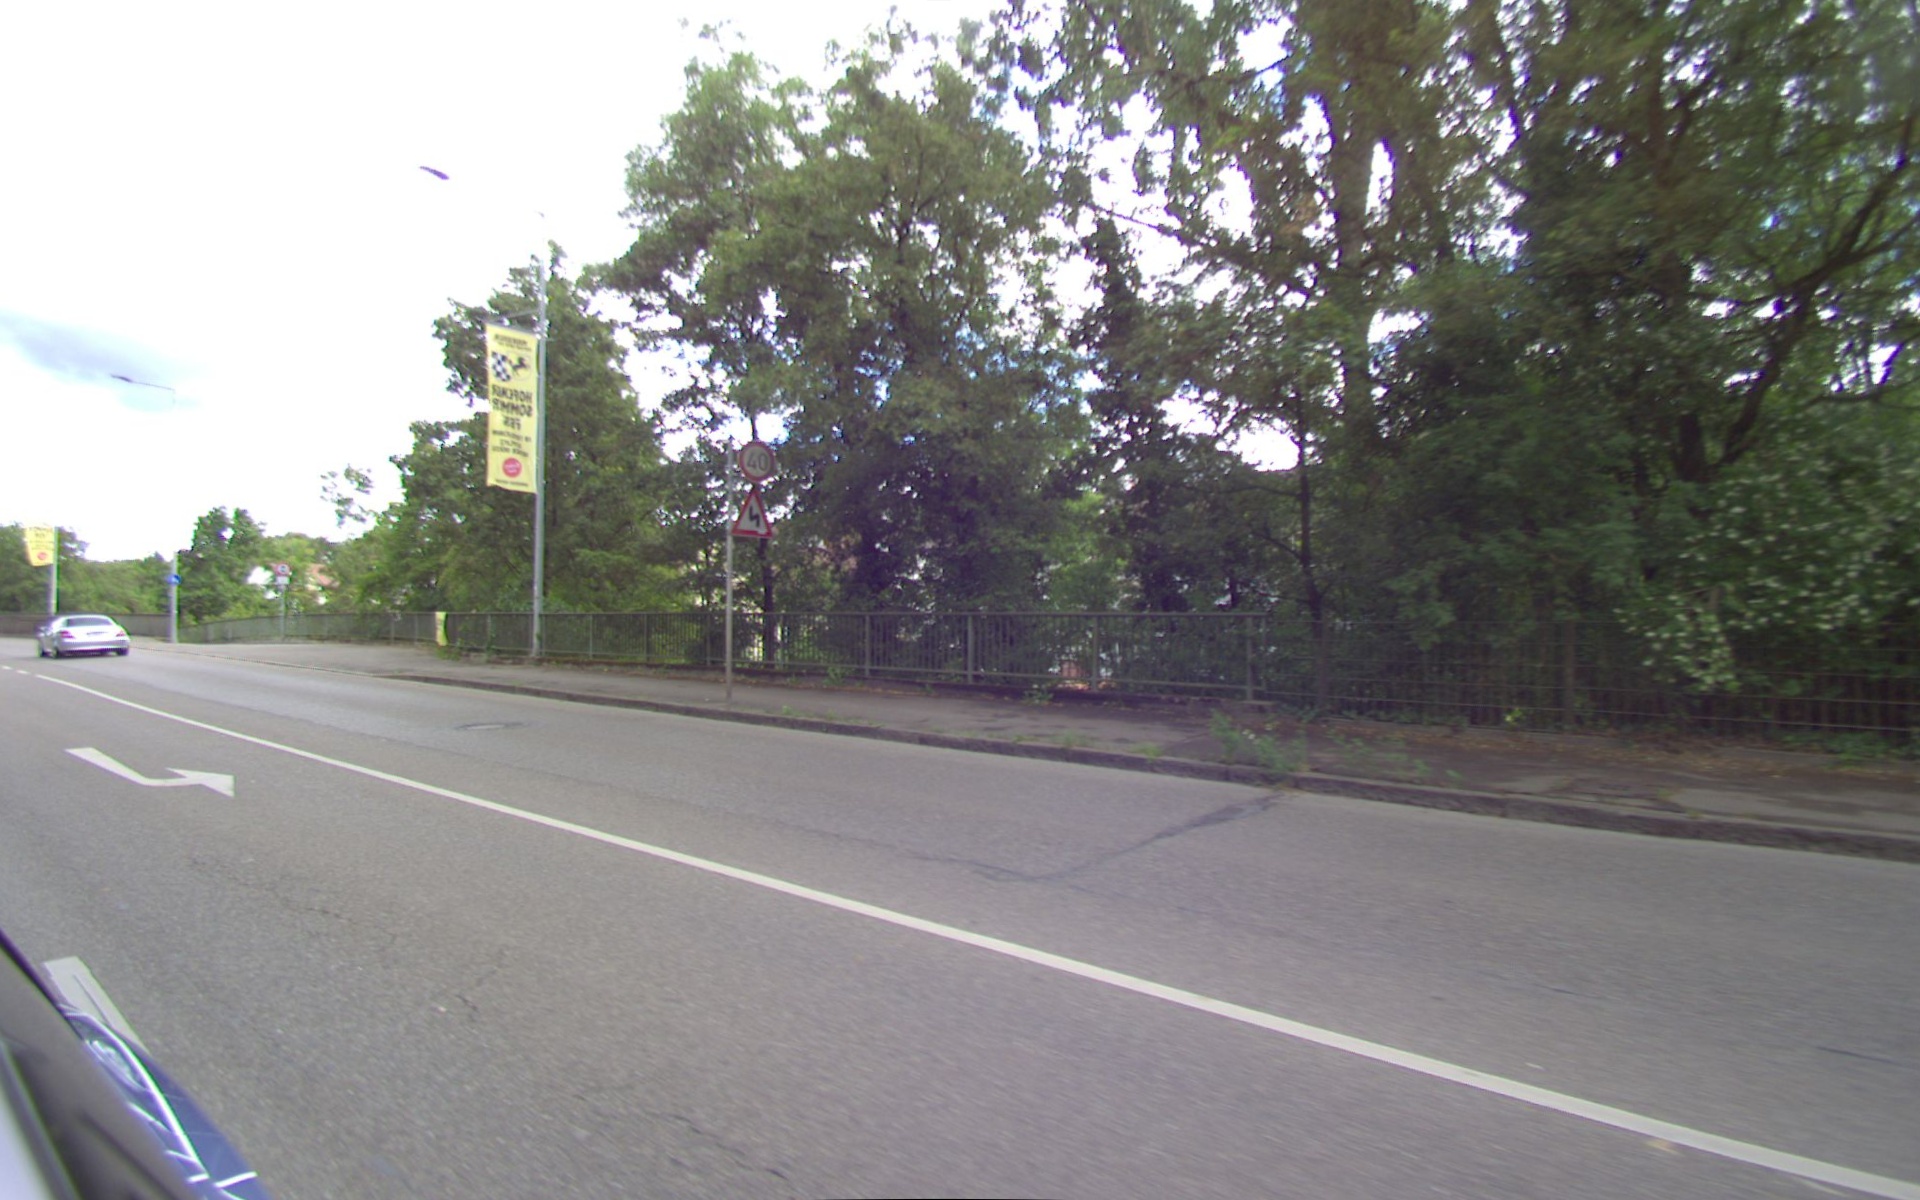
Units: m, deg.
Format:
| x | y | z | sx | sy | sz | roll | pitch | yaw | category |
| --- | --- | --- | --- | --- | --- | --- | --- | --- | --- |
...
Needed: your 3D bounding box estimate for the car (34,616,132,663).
| x | y | z | sx | sy | sz | roll | pitch | yaw | category |
| --- | --- | --- | --- | --- | --- | --- | --- | --- | --- |
| -27.426 | 1.194 | 31.613 | 3.693 | 1.347 | 1.741 | -1 | 1 | 40 | car |
